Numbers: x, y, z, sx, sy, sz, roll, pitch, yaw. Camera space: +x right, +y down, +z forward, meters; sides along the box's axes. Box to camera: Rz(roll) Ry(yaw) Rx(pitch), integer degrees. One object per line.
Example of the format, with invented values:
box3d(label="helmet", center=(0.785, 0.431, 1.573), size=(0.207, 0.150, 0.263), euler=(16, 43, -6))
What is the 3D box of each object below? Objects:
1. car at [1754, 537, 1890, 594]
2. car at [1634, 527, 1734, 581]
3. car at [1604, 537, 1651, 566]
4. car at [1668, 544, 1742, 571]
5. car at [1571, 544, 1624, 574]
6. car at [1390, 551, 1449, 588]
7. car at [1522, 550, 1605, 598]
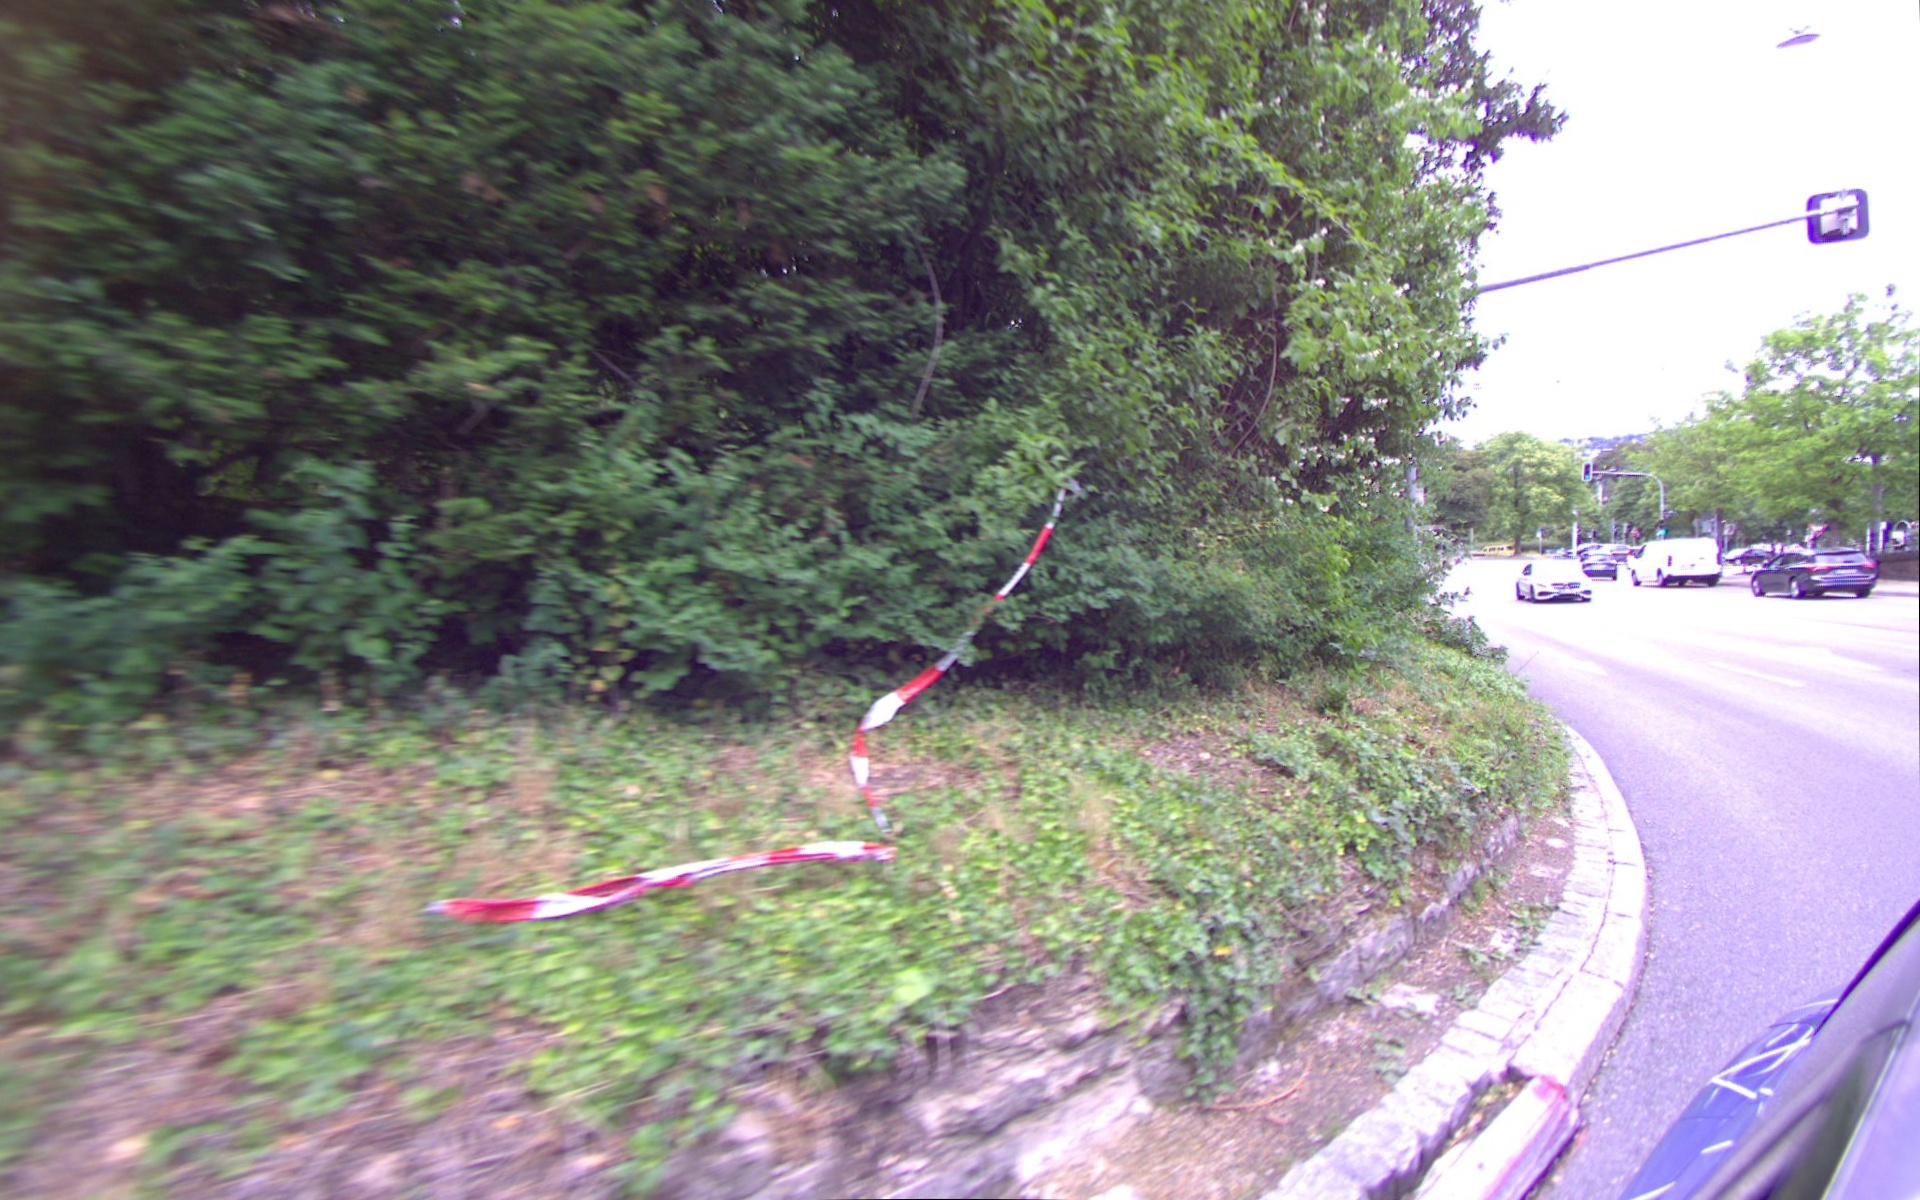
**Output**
box3d(label="car", center=(25.928, -1.047, 30.631), size=(1.642, 1.491, 4.581), euler=(-3, 1, 21))
box3d(label="car", center=(30.766, -1.933, 43.225), size=(1.975, 2.038, 5.391), euler=(-3, 1, 20))
box3d(label="car", center=(45.445, -3.294, 68.896), size=(1.794, 1.887, 4.774), euler=(1, 3, 45))
box3d(label="car", center=(42.918, -2.435, 58.347), size=(3.098, 1.490, 1.538), euler=(0, 3, 22))
box3d(label="car", center=(35.545, -2.302, 56.516), size=(1.678, 1.510, 3.779), euler=(-2, 2, 20))
box3d(label="car", center=(21.472, -1.463, 47.470), size=(1.892, 1.570, 4.504), euler=(-2, 2, 17))
box3d(label="car", center=(21.235, -0.952, 35.787), size=(1.896, 1.496, 4.492), euler=(-3, 2, 24))
